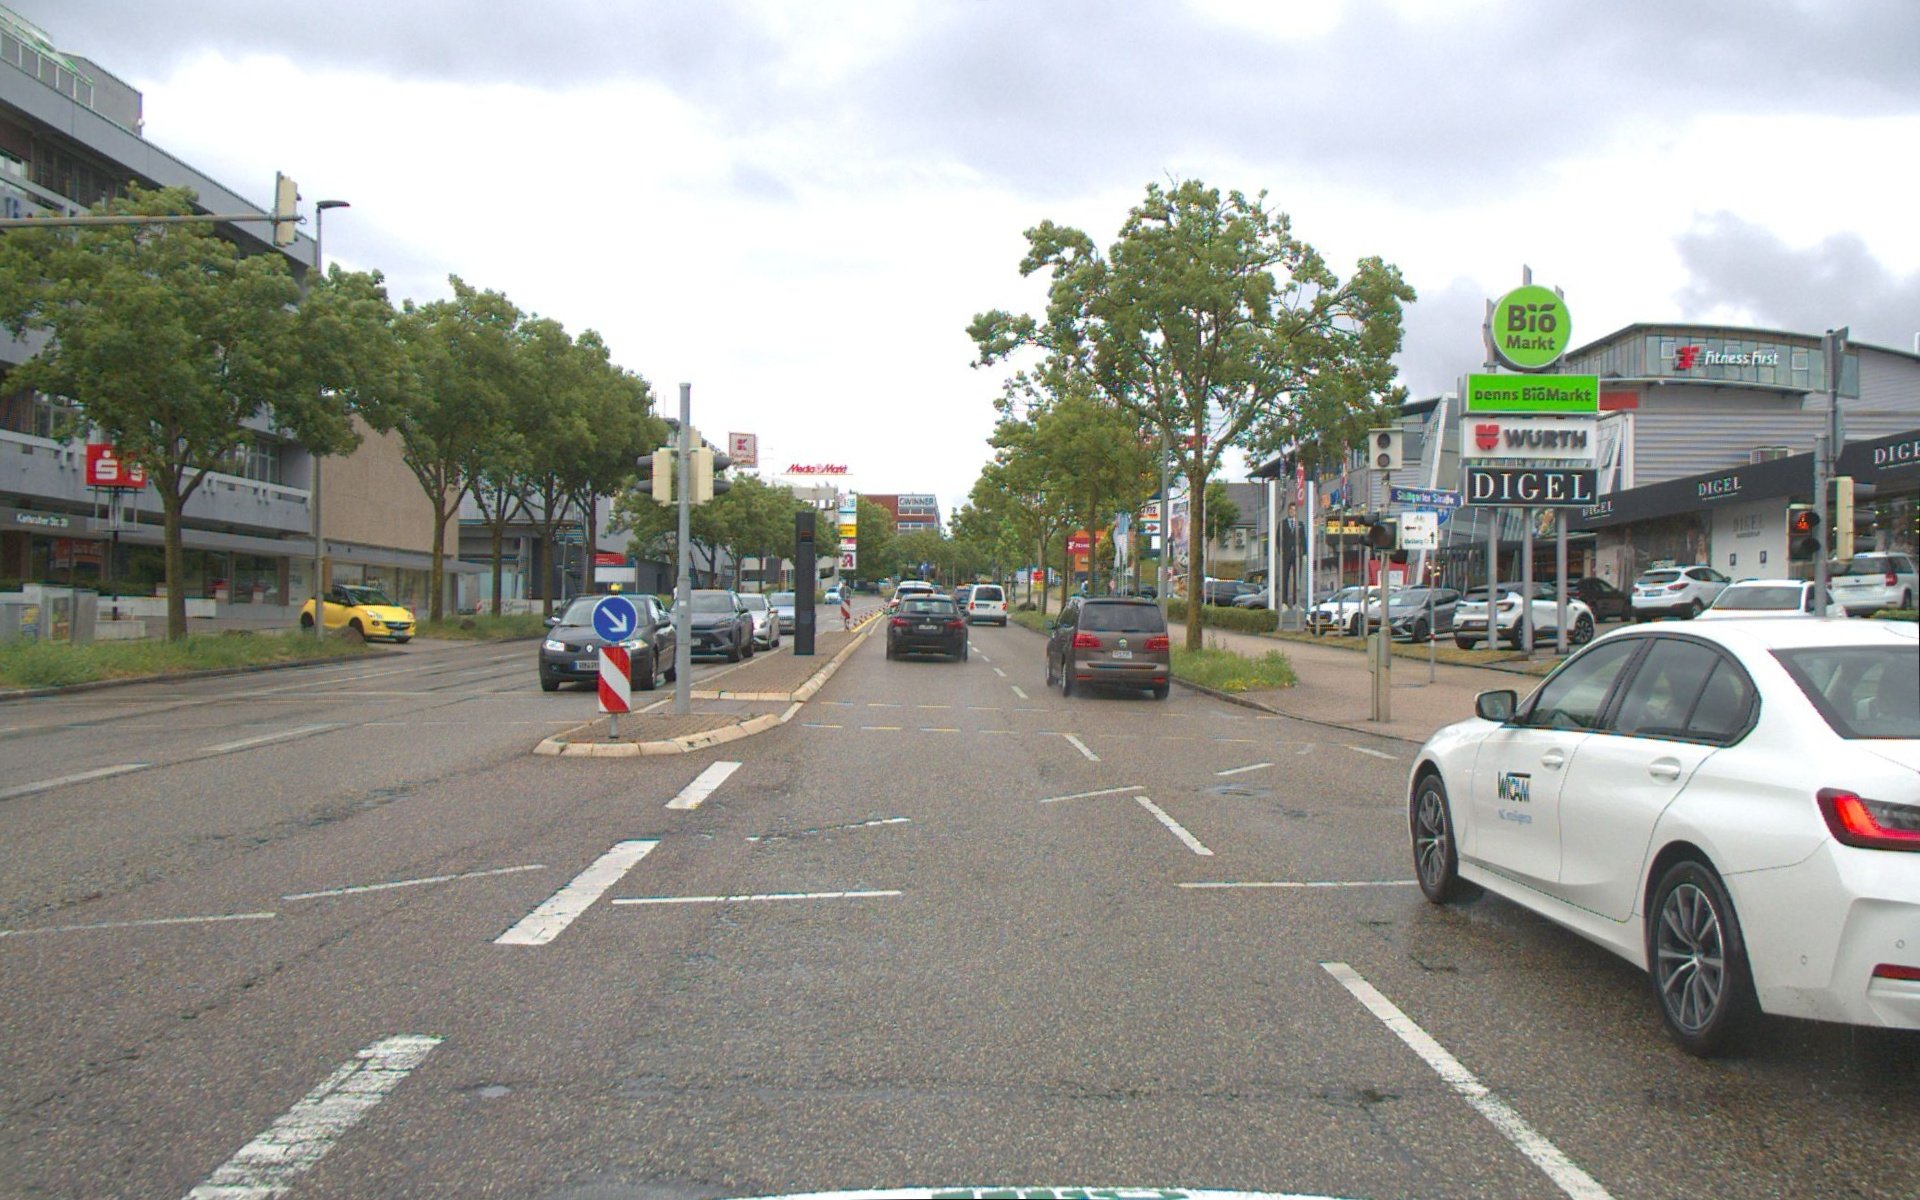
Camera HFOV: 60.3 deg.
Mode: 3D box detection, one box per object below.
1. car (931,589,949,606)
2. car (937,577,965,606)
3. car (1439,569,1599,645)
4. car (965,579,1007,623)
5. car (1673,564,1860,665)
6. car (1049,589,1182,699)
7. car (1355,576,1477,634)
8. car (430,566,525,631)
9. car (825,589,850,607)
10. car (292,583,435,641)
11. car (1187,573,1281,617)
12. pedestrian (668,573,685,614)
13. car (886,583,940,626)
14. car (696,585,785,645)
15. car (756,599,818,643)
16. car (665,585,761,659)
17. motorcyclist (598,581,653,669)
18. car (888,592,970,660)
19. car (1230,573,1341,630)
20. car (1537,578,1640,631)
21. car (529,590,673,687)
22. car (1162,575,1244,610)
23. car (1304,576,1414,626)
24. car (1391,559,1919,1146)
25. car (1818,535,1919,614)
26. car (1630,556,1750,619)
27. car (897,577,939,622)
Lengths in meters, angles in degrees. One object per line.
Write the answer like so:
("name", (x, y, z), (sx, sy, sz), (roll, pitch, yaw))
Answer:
("car", (-1.826, -0.223, 151.209), (1.587, 1.521, 3.359), (2, -1, -2))
("car", (-0.544, -0.522, 104.112), (1.650, 1.713, 3.402), (2, -1, 0))
("car", (13.713, 0.142, 40.520), (3.990, 1.692, 1.953), (-2, 2, -41))
("car", (1.125, 0.049, 73.901), (1.745, 1.899, 3.999), (0, 0, -1))
("car", (13.899, 0.222, 28.385), (1.897, 1.604, 4.264), (0, 0, 40))
("car", (2.521, 0.672, 27.773), (1.764, 1.614, 4.450), (2, 0, 0))
("car", (12.777, 0.134, 46.253), (3.566, 1.563, 1.620), (0, 0, -41))
("car", (-16.309, -0.028, 56.089), (1.953, 2.049, 3.999), (2, -1, 0))
("car", (-10.357, -0.164, 139.818), (1.904, 1.474, 3.999), (1, 0, -2))
("car", (-16.920, 0.322, 46.885), (3.917, 1.579, 1.894), (0, 0, 34))
("car", (12.527, -0.236, 75.750), (4.026, 1.938, 1.800), (0, 0, 1))
("pedestrian", (-15.972, -0.361, 93.327), (0.842, 2.257, 0.845), (1, 0, -4))
("car", (-1.616, 0.149, 55.677), (1.649, 1.401, 3.997), (0, 0, -4))
("car", (-5.718, 0.372, 43.553), (1.804, 1.401, 4.861), (-3, 0, -2))
("car", (-5.934, 0.700, 57.119), (1.688, 1.422, 4.788), (-2, 0, -1))
("car", (-5.362, 0.436, 36.339), (1.710, 1.515, 4.825), (0, 0, -4))
("motorcyclist", (-6.181, 0.443, 30.593), (0.790, 1.586, 1.267), (1, 0, -3))
("car", (-0.701, 0.570, 37.660), (1.745, 1.422, 3.999), (1, 0, -1))
("car", (12.725, 0.039, 64.801), (4.026, 2.142, 1.800), (1, 0, 0))
("car", (21.365, 0.153, 56.195), (3.939, 1.750, 1.610), (0, 0, -41))
("car", (-5.546, 0.558, 25.993), (1.649, 1.401, 3.997), (0, 0, -4))
("car", (12.325, -0.383, 84.018), (4.024, 1.733, 1.801), (1, 0, 5))
("car", (13.030, 0.018, 53.958), (3.566, 1.563, 1.770), (-1, 1, -41))
("car", (3.317, 0.718, 6.779), (1.765, 1.571, 4.618), (2, 0, -1))
("car", (22.320, -0.592, 39.866), (4.122, 1.802, 1.710), (0, 0, -44))
("car", (21.879, -0.354, 49.530), (4.116, 1.802, 1.713), (0, 0, -41))
("car", (-2.023, 0.009, 80.897), (1.953, 2.049, 3.999), (2, -1, -1))
